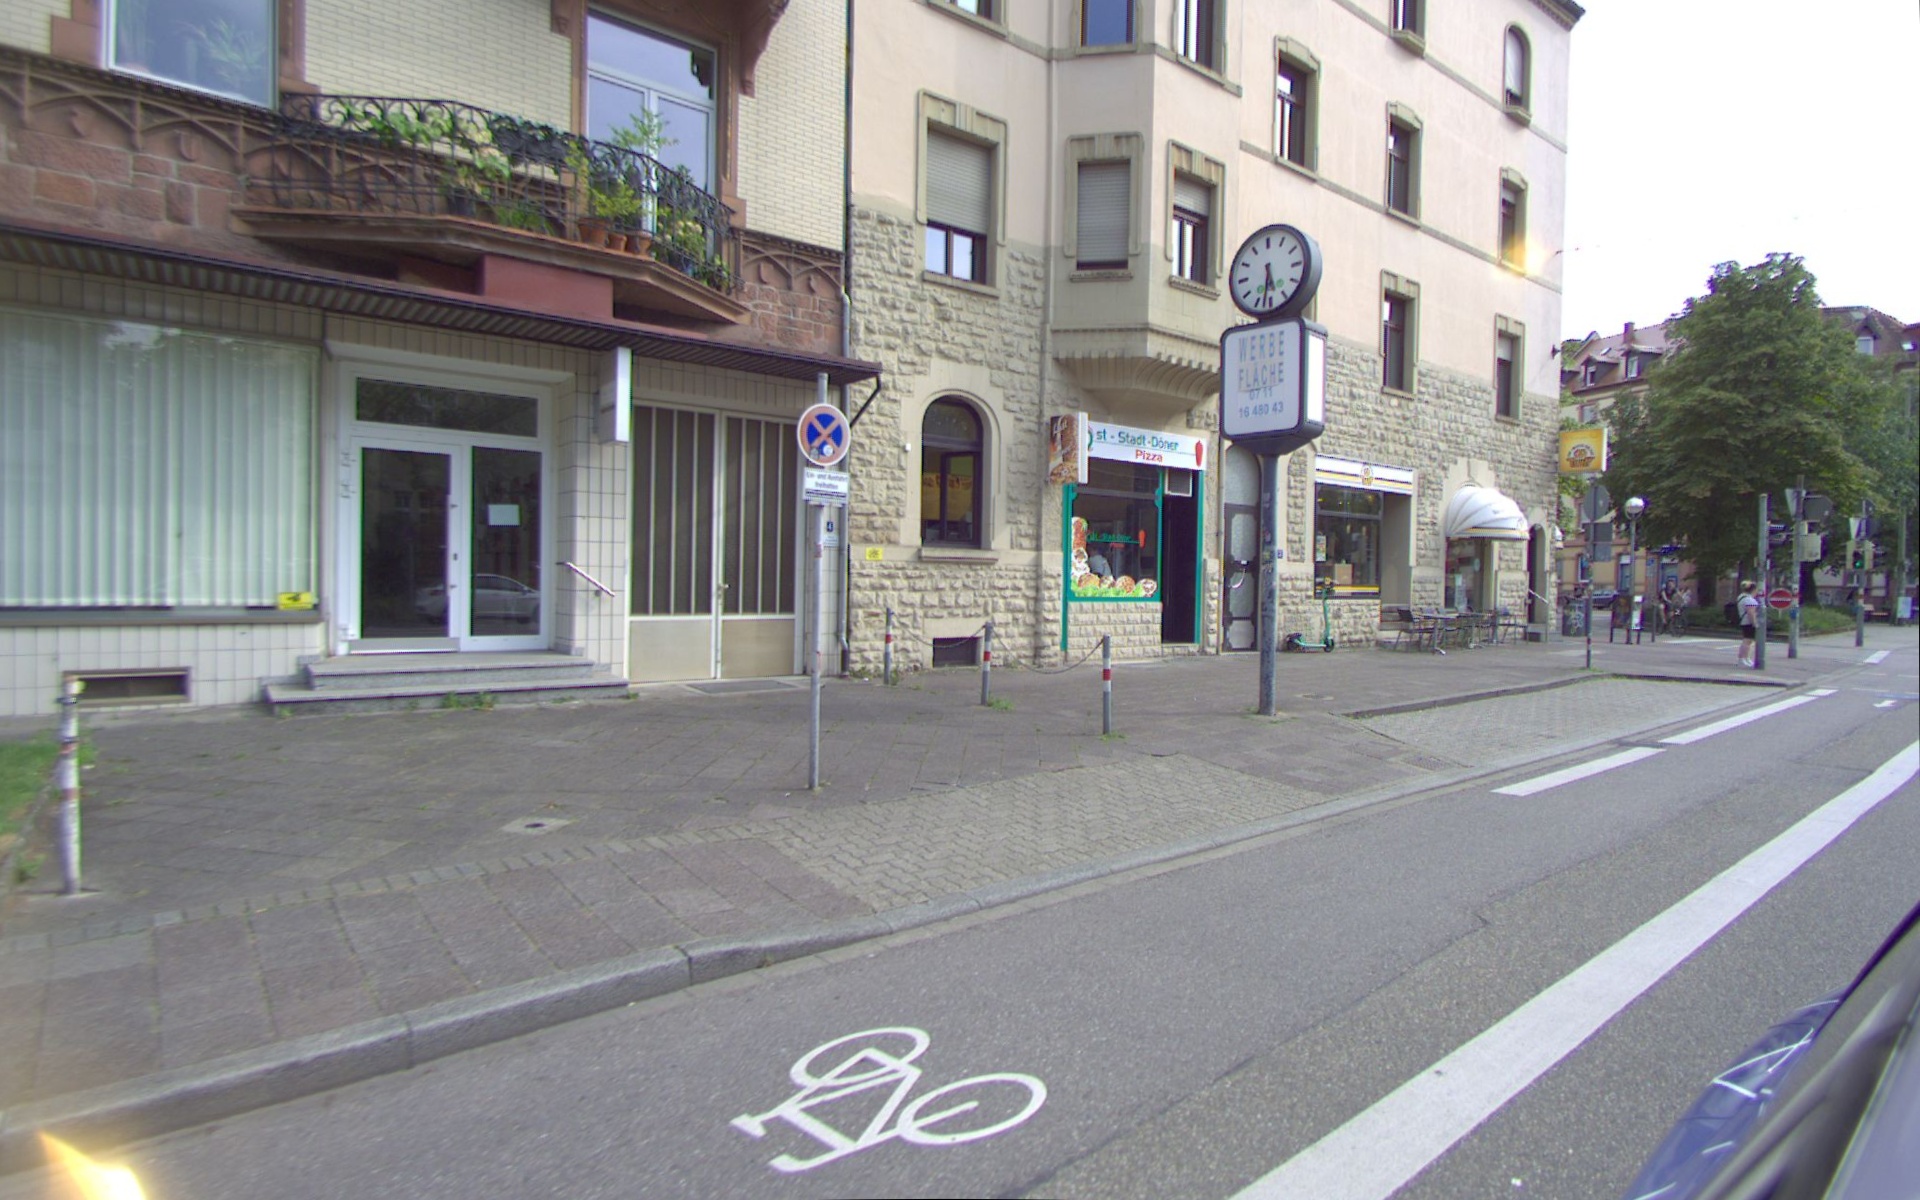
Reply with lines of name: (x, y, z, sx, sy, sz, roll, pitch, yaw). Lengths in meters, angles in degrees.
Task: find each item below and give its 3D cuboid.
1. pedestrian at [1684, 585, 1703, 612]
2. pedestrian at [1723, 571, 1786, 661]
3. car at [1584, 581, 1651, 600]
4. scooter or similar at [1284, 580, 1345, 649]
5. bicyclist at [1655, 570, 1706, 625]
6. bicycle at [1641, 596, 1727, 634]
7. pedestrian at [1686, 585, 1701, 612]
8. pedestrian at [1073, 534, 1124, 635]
pedestrian: (47.208, -0.114, 65.162, 0.765, 1.715, 0.789, 0, 2, -40)
pedestrian: (15.766, 0.302, 20.081, 0.746, 1.680, 0.721, 0, 6, -41)
car: (44.395, -0.650, 68.400, 1.702, 1.282, 3.597, 0, 1, -14)
scooter or similar: (6.349, 0.252, 18.130, 1.174, 1.182, 0.398, 0, 3, -37)
bicyclist: (23.061, -0.083, 32.420, 0.825, 1.711, 1.244, 1, 1, 9)
bicycle: (23.048, 0.458, 32.307, 0.871, 1.058, 3.090, 1, 1, 8)
pedestrian: (46.670, -0.120, 64.393, 0.630, 1.715, 0.612, 0, 2, -42)
pedestrian: (2.236, -0.251, 16.346, 0.551, 1.600, 0.551, 0, 1, -38)
